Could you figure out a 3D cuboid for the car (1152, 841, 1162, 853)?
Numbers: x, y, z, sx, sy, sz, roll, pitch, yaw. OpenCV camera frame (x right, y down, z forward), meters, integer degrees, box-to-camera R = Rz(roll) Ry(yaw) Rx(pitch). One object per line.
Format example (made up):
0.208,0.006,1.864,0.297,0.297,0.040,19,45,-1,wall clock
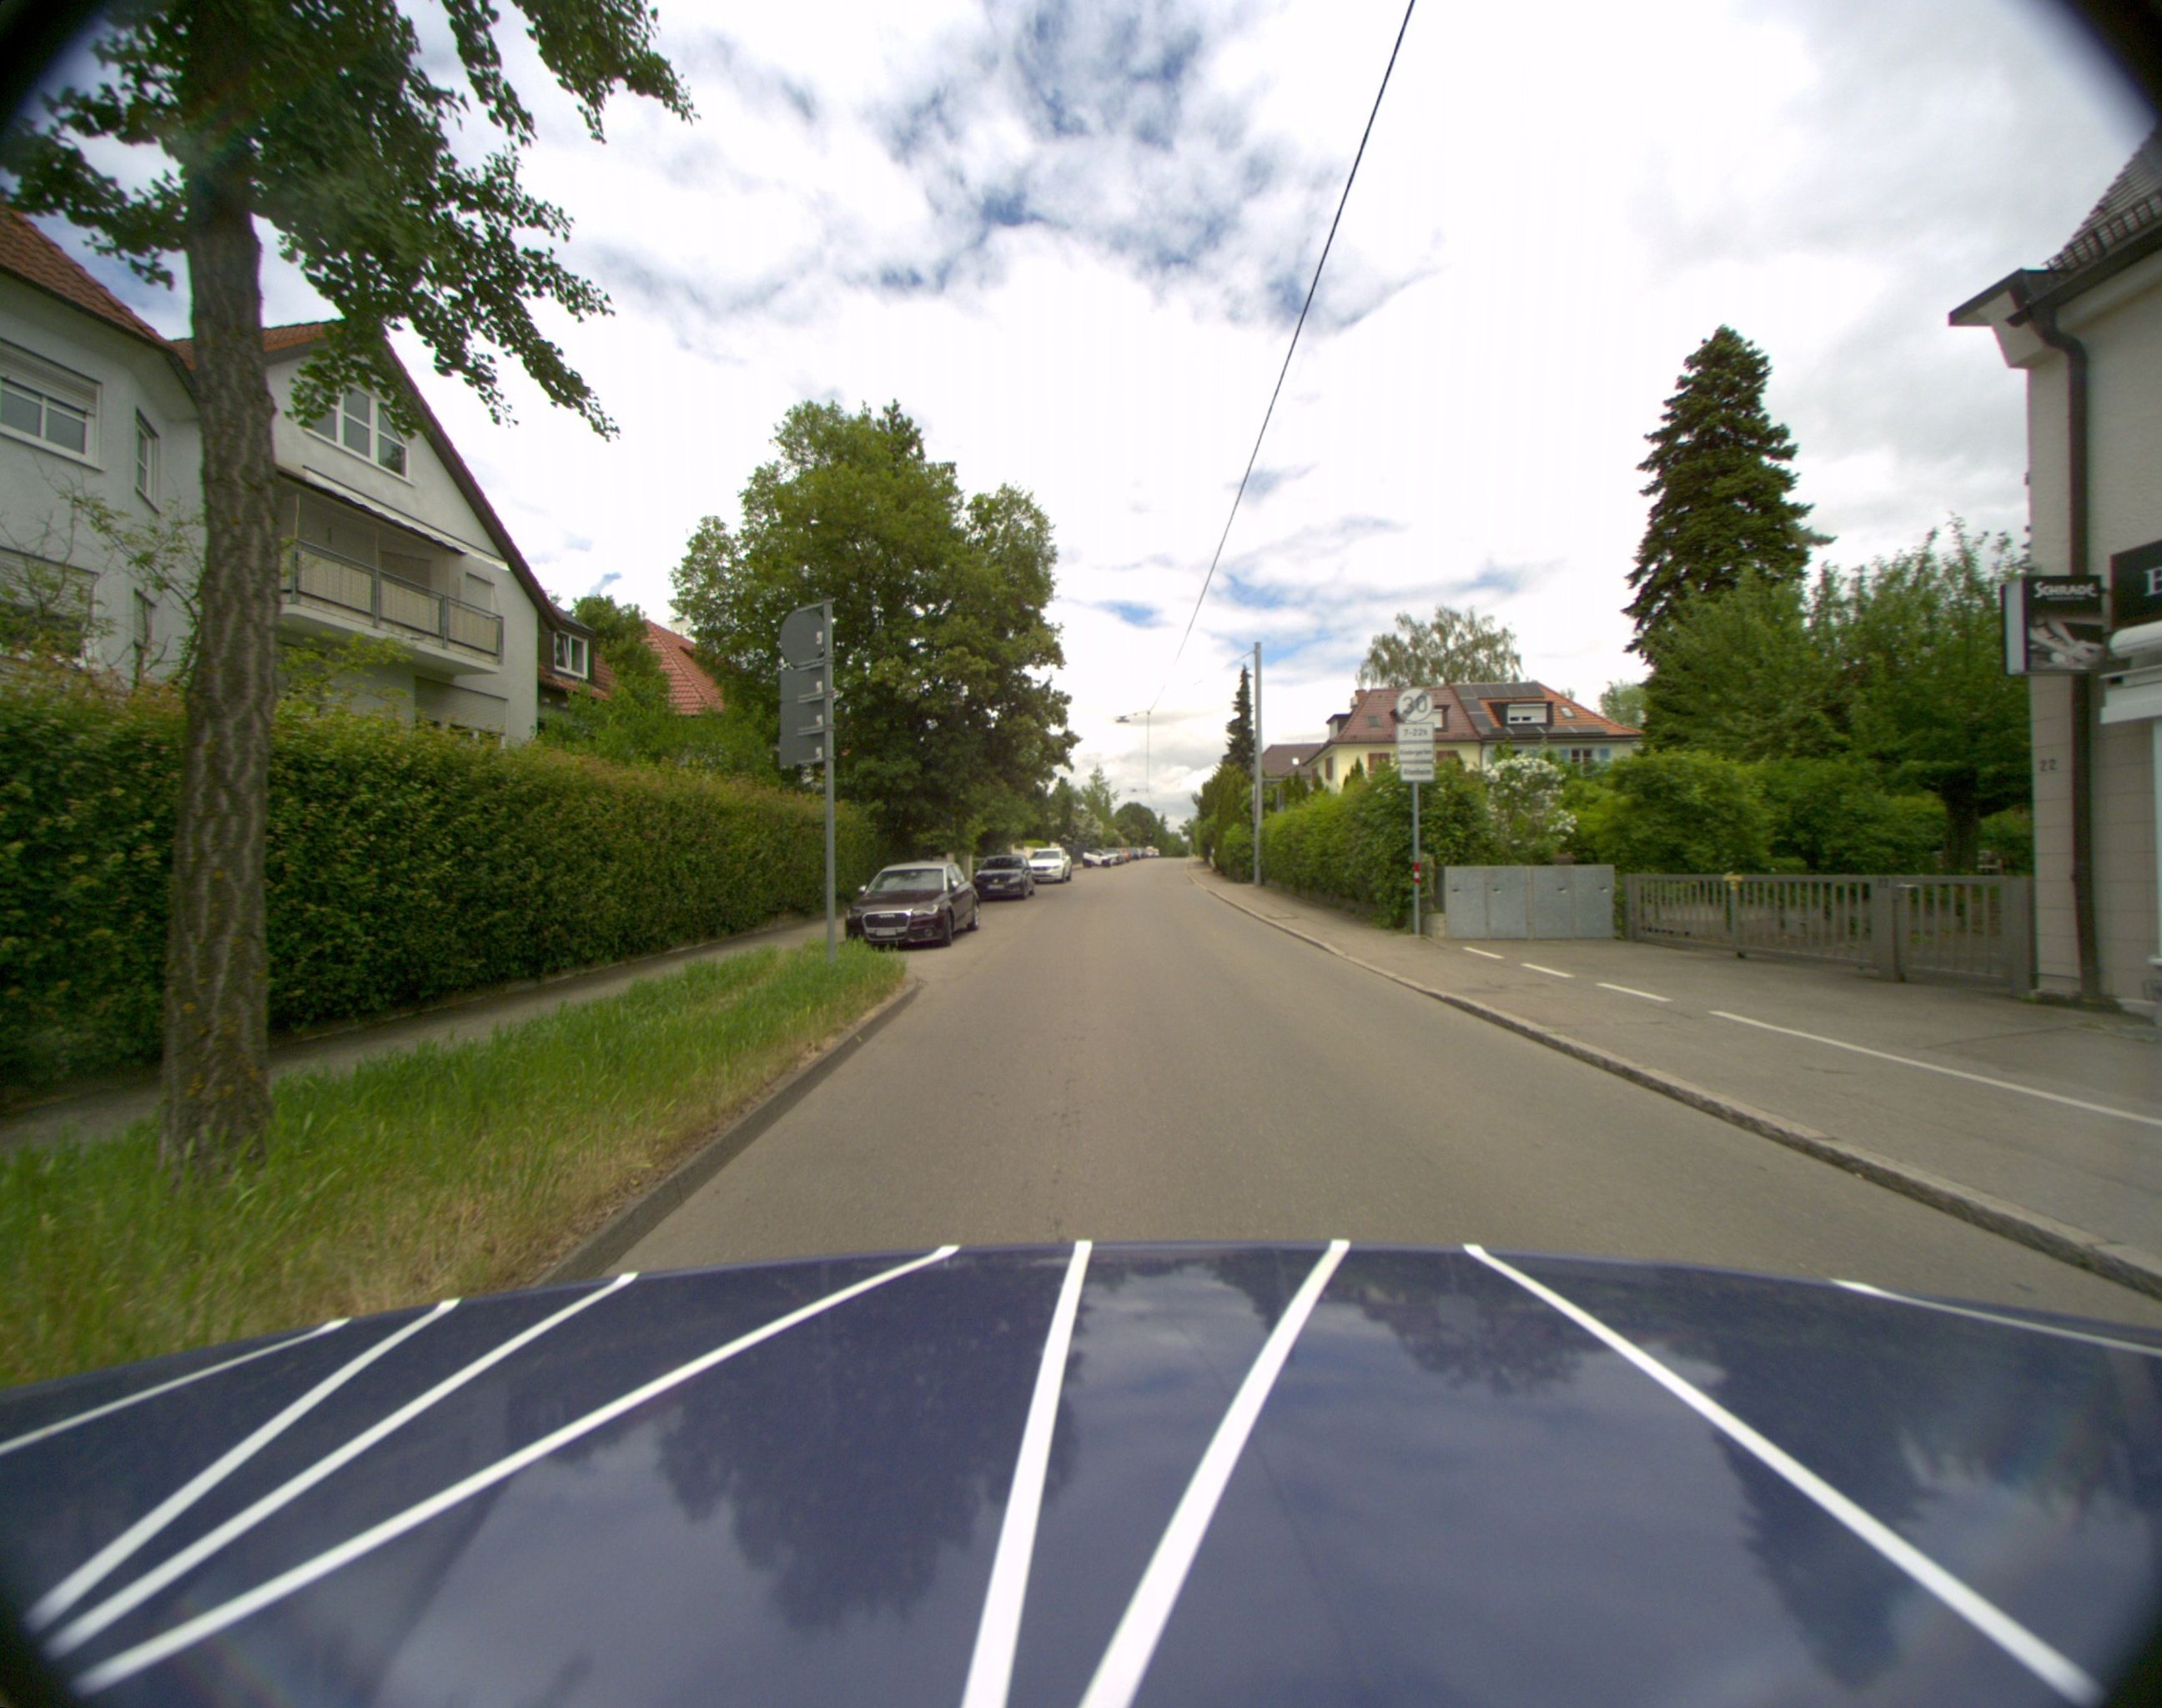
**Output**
15.532,-1.448,155.268,1.853,2.211,5.370,-3,0,6,car

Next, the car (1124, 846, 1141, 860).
6.509,-0.163,96.065,1.954,1.617,4.378,-2,1,6,car

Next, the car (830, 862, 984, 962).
-2.953,0.926,13.733,1.713,1.404,3.790,-3,1,2,car

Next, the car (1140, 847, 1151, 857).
10.273,-0.311,121.642,1.720,1.452,4.142,-1,0,5,car

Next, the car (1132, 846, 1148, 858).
8.426,-0.282,107.931,1.804,1.583,4.143,-1,1,9,car

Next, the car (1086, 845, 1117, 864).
1.672,0.052,62.103,2.290,1.515,1.319,0,0,13,car

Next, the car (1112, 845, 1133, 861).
4.537,-0.147,82.617,1.854,1.617,4.171,-2,1,7,car

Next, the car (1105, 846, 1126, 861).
3.489,-0.035,76.249,1.719,1.374,4.238,-1,1,8,car

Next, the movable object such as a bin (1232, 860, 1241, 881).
6.879,0.737,33.593,0.337,0.888,0.476,-2,1,8,movable object such as a bin

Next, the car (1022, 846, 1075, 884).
-1.460,0.467,35.979,1.869,1.675,4.351,-1,1,6,car

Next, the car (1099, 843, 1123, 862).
2.838,-0.150,71.008,1.833,1.614,4.494,-1,1,8,car

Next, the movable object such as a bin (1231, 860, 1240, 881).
6.944,0.741,34.110,0.337,0.888,0.476,-2,1,8,movable object such as a bin

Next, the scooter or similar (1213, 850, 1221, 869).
8.377,0.335,46.969,0.392,1.164,1.271,-1,1,7,scooter or similar

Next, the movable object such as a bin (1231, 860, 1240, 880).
7.061,0.707,34.730,0.337,0.888,0.476,-2,1,8,movable object such as a bin

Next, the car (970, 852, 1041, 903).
-2.399,0.709,24.906,1.713,1.479,3.791,-1,1,3,car
